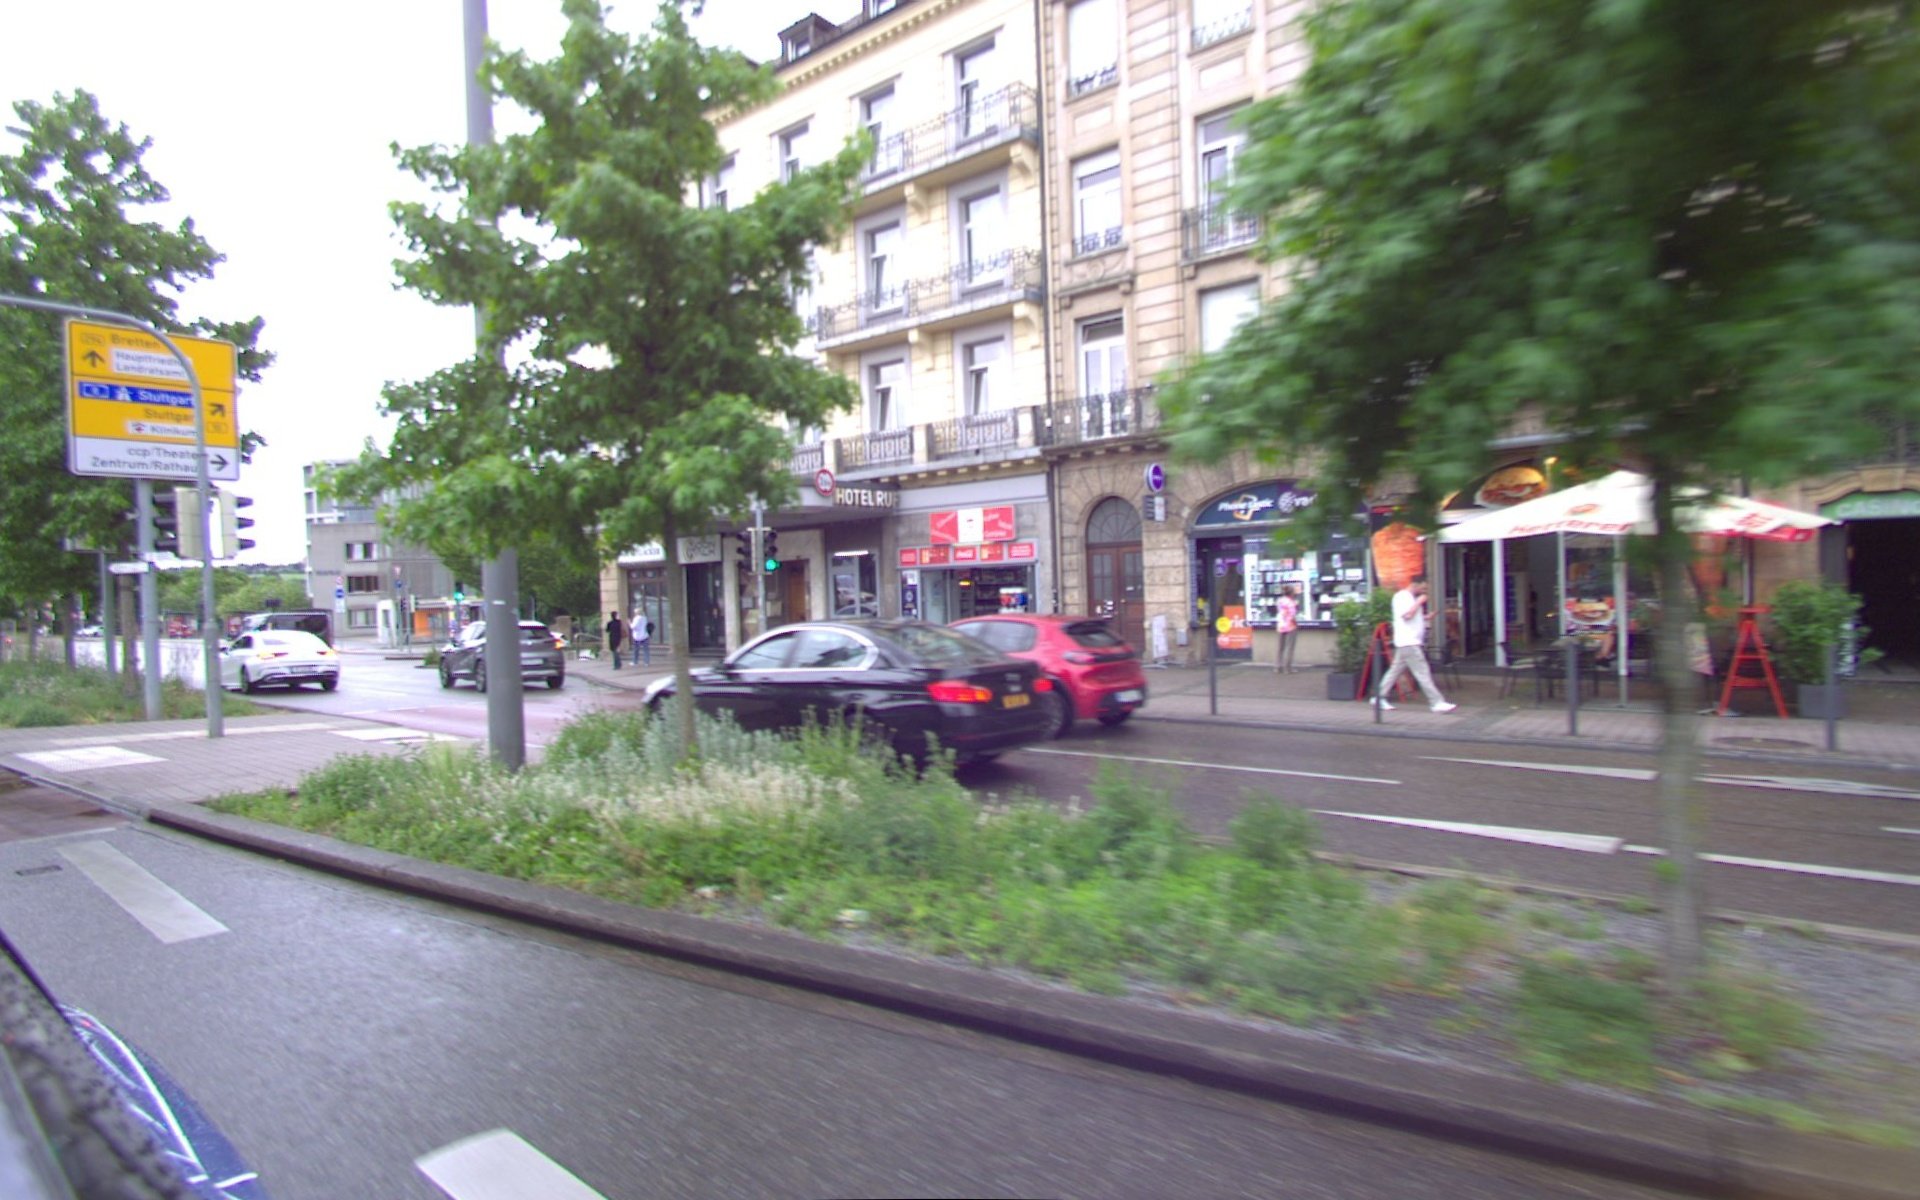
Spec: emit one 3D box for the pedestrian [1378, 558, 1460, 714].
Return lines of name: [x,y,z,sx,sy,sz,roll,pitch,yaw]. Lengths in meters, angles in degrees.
pedestrian: [5.898,0.445,12.997,0.765,1.924,0.669,-2,-1,41]

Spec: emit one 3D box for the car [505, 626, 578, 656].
car: [-26.867,2.592,64.985,3.937,1.741,2.003,0,-1,-40]

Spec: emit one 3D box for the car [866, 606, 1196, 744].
car: [0.793,0.832,12.738,3.912,1.456,1.660,-1,0,40]

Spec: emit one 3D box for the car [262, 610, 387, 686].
car: [-18.467,1.334,29.333,4.371,2.010,1.921,-1,-1,42]

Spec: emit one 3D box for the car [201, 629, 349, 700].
car: [-16.182,1.451,23.826,4.370,1.475,1.823,-1,-1,41]

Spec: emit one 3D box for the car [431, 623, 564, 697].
car: [-10.692,1.327,23.270,1.741,1.520,3.848,0,-2,-41]

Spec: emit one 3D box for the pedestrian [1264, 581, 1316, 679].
pedestrian: [5.861,0.518,17.951,0.677,1.683,0.756,0,0,35]

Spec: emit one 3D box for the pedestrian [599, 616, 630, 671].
pedestrian: [-9.767,1.229,28.567,0.633,1.499,0.748,-2,0,-31]

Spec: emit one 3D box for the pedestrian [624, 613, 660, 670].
pedestrian: [-9.132,1.179,29.023,0.777,1.550,0.748,-2,0,-31]

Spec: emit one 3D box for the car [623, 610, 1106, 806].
car: [-1.179,0.881,10.089,5.027,1.475,1.823,-1,-1,41]

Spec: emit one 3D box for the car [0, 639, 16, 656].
car: [-86.330,4.248,90.935,3.908,1.457,1.957,-2,-1,43]
